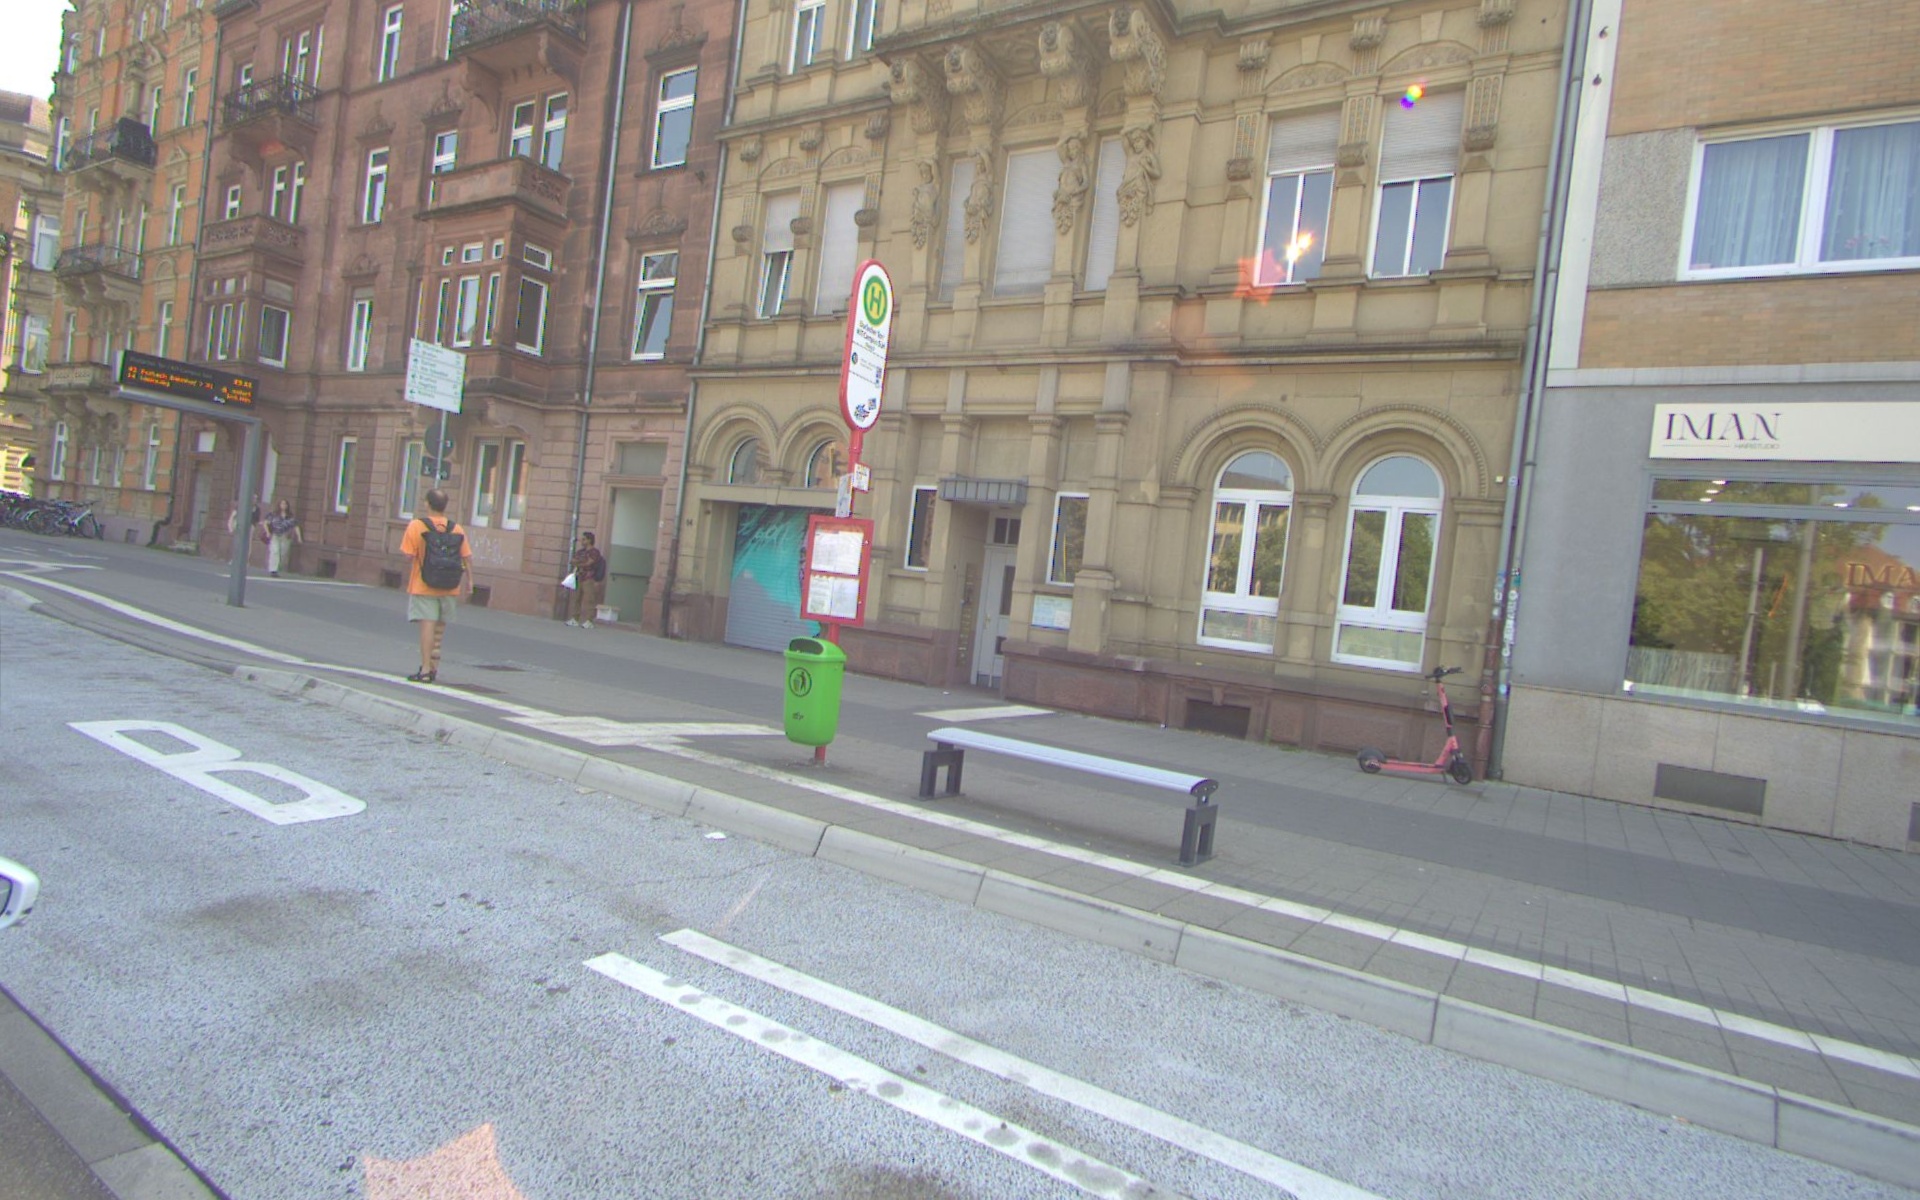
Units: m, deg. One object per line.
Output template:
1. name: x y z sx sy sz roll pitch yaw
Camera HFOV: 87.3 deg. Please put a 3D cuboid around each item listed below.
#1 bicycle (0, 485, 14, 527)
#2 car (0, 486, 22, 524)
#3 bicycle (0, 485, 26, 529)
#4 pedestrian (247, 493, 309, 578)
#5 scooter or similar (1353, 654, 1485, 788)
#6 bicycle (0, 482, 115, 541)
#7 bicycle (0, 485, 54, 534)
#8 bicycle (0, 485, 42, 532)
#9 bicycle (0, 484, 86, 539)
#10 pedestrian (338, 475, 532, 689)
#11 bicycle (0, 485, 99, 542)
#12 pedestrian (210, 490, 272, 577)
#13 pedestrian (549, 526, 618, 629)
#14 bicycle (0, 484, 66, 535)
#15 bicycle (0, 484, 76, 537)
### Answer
1. bicycle: -33.969 -3.360 33.786 0.932 1.390 3.007 7 0 31
2. car: -42.005 -4.228 41.869 1.652 1.539 3.942 7 0 24
3. bicycle: -33.081 -3.272 33.280 0.932 1.390 3.007 7 0 31
4. pedestrian: -15.574 -1.461 22.974 0.856 1.800 0.715 7 1 30
5. scooter or similar: 4.889 1.262 10.738 1.122 1.228 0.476 7 1 27
6. bicycle: -27.066 -2.622 29.727 0.857 1.388 2.997 7 0 31
7. bicycle: -31.111 -3.031 32.138 0.932 1.390 3.007 7 0 31
8. bicycle: -31.970 -3.131 32.629 0.932 1.390 3.007 7 0 31
9. bicycle: -28.651 -2.751 30.558 0.857 1.388 2.997 7 0 31
10. pedestrian: -4.754 -0.160 9.112 1.220 1.762 0.964 6 0 36
11. bicycle: -27.877 -2.625 30.119 0.857 1.388 2.997 7 0 31
12. pedestrian: -15.969 -1.468 22.341 0.833 1.798 0.715 7 1 31
13. pedestrian: -7.033 -0.408 18.835 0.729 1.800 0.870 7 1 4
14. bicycle: -30.207 -2.943 31.559 0.932 1.390 3.007 7 0 31
15. bicycle: -29.424 -2.843 31.070 0.857 1.388 2.997 7 0 31
